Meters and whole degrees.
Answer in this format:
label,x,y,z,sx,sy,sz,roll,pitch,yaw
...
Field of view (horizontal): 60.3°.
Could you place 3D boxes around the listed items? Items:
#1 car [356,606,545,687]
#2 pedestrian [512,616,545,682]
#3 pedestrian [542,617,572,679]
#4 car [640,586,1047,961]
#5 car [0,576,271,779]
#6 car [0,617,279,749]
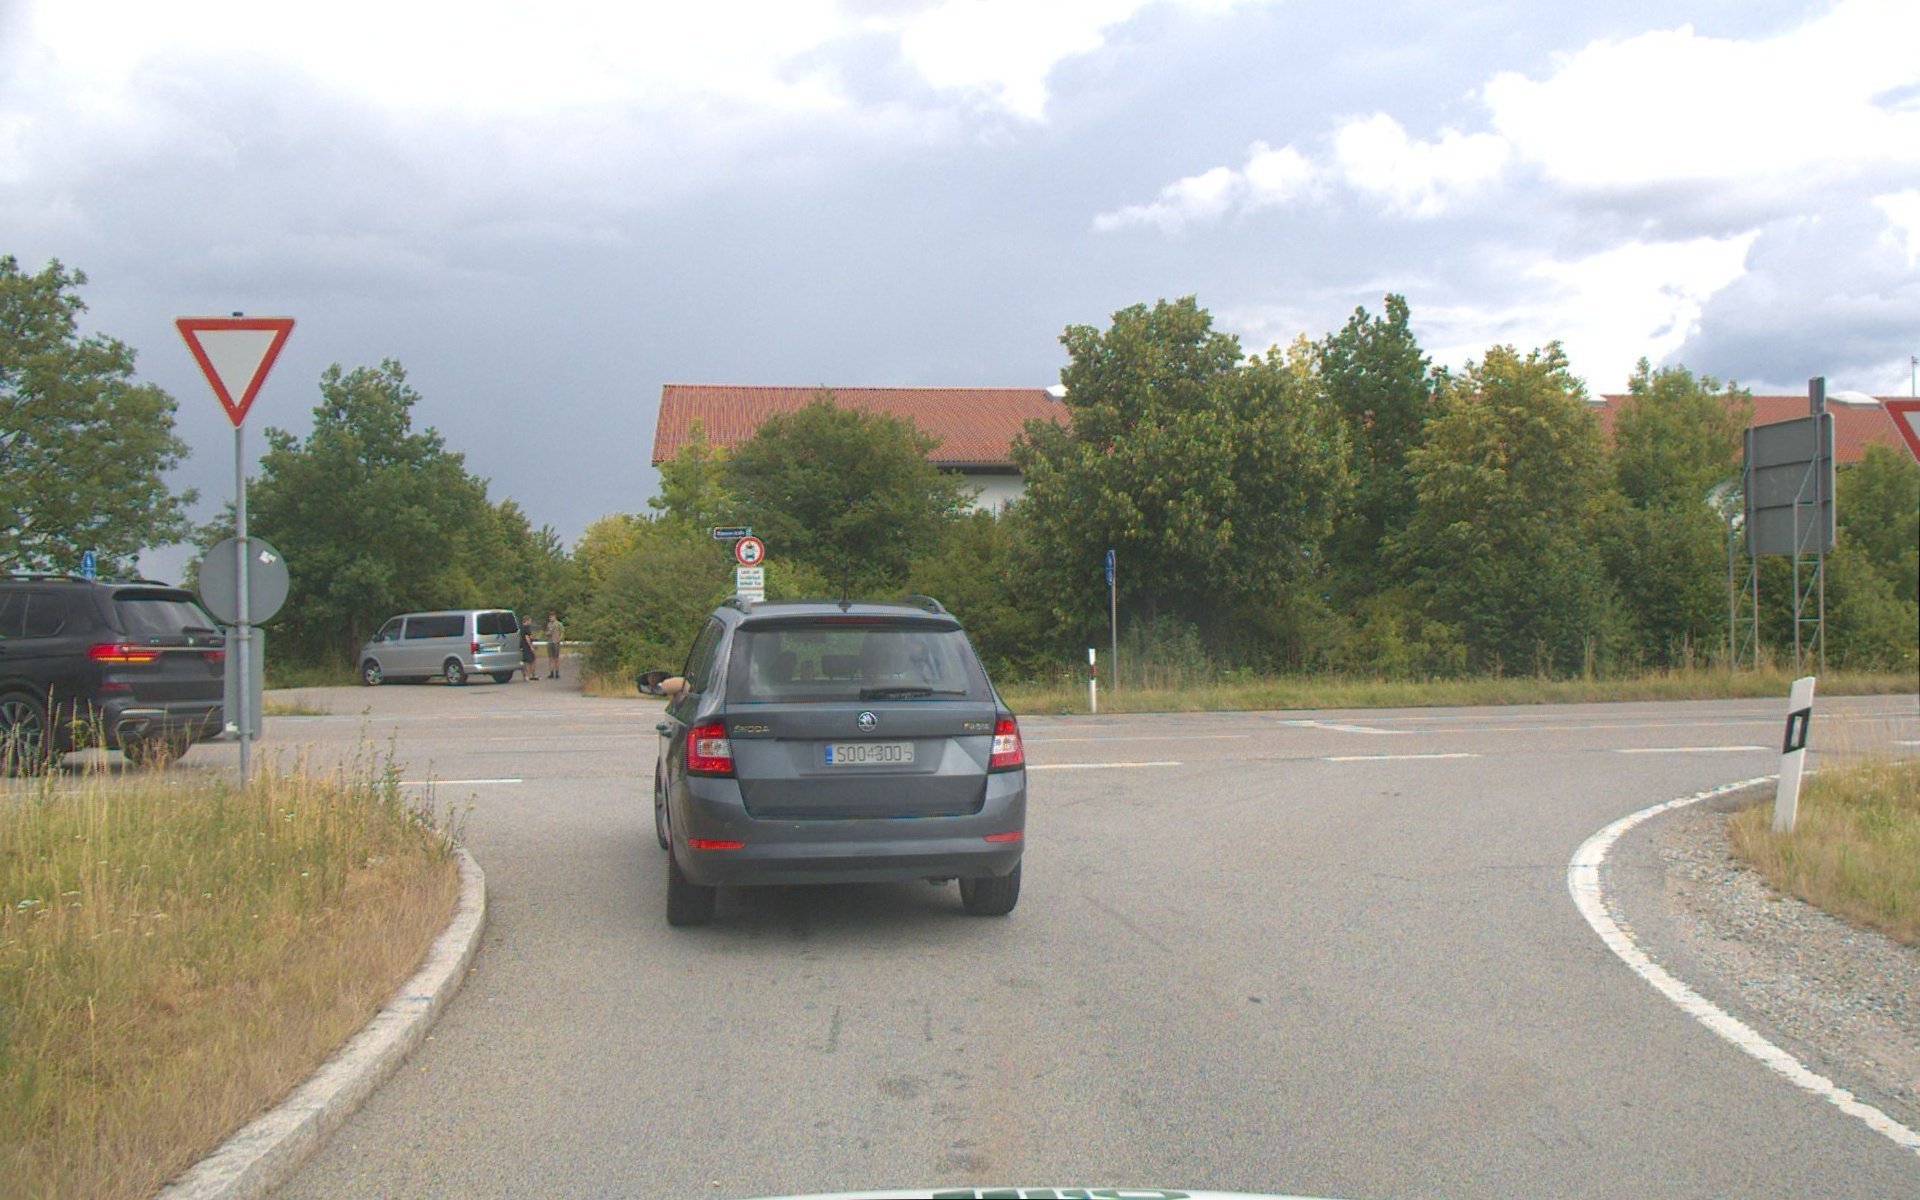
label,x,y,z,sx,sy,sz,roll,pitch,yaw
car,-14.064,1.251,45.590,4.808,2.048,2.338,-1,1,31
pedestrian,-11.792,1.342,45.184,0.518,1.756,0.640,-1,1,29
pedestrian,-11.435,1.356,46.924,0.571,1.712,0.566,-1,1,18
car,-0.711,0.699,8.535,1.645,1.488,3.701,0,0,-8
car,-9.389,0.735,16.308,4.530,1.805,2.001,-1,-1,16
car,-11.234,1.049,21.231,4.209,1.513,1.995,-2,0,-10
